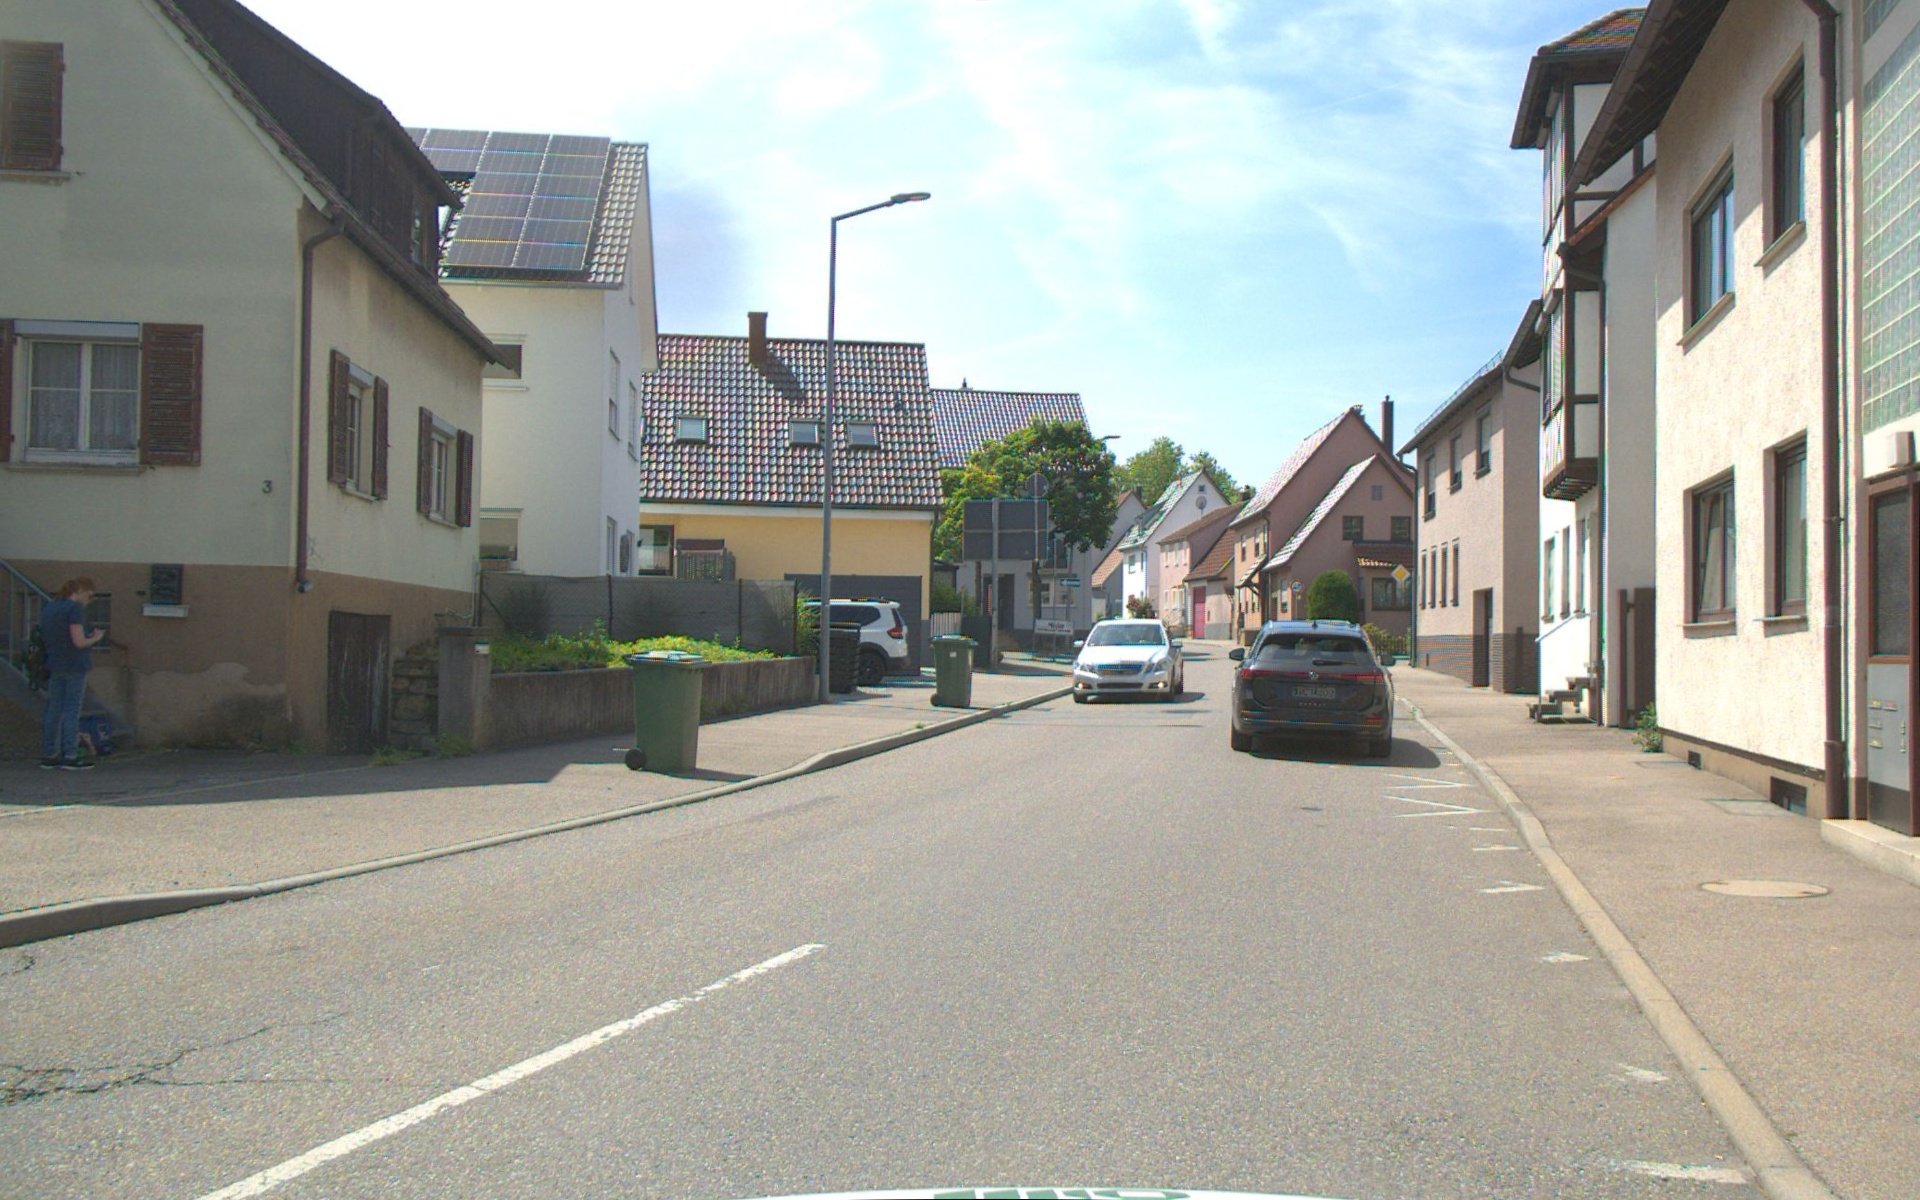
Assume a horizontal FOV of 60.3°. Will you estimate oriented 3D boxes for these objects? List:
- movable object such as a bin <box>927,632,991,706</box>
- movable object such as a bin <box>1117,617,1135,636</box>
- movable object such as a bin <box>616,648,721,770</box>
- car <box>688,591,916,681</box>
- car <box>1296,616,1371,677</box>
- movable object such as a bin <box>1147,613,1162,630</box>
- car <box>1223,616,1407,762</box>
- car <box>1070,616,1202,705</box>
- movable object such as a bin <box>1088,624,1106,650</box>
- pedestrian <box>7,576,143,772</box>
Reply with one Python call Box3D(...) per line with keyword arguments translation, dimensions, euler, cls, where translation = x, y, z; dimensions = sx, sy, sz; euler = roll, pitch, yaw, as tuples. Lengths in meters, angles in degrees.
Box3D(translation=(-0.012, 1.064, 25.867), dimensions=(0.808, 1.096, 0.819), euler=(1, 0, 13), cls="movable object such as a bin")
Box3D(translation=(10.467, 1.659, 104.290), dimensions=(0.860, 1.093, 0.870), euler=(-3, 0, -11), cls="movable object such as a bin")
Box3D(translation=(-2.688, 0.993, 15.297), dimensions=(0.774, 1.076, 0.651), euler=(0, 0, 9), cls="movable object such as a bin")
Box3D(translation=(-3.065, 0.714, 32.835), dimensions=(4.311, 1.651, 2.000), euler=(1, -1, -1), cls="car")
Box3D(translation=(9.768, 1.182, 43.491), dimensions=(1.747, 1.467, 4.340), euler=(1, 0, 11), cls="car")
Box3D(translation=(12.149, 1.344, 103.363), dimensions=(0.666, 1.068, 0.833), euler=(-3, 0, -11), cls="movable object such as a bin")
Box3D(translation=(4.292, 0.941, 19.476), dimensions=(1.802, 1.445, 4.685), euler=(1, 0, 16), cls="car")
Box3D(translation=(3.360, 1.072, 30.866), dimensions=(1.913, 1.512, 4.462), euler=(-1, -1, 13), cls="car")
Box3D(translation=(5.944, 1.596, 71.796), dimensions=(0.738, 1.079, 0.679), euler=(1, 0, -1), cls="movable object such as a bin")
Box3D(translation=(-7.468, 0.611, 13.982), dimensions=(0.760, 1.601, 0.628), euler=(1, 0, 3), cls="pedestrian")
